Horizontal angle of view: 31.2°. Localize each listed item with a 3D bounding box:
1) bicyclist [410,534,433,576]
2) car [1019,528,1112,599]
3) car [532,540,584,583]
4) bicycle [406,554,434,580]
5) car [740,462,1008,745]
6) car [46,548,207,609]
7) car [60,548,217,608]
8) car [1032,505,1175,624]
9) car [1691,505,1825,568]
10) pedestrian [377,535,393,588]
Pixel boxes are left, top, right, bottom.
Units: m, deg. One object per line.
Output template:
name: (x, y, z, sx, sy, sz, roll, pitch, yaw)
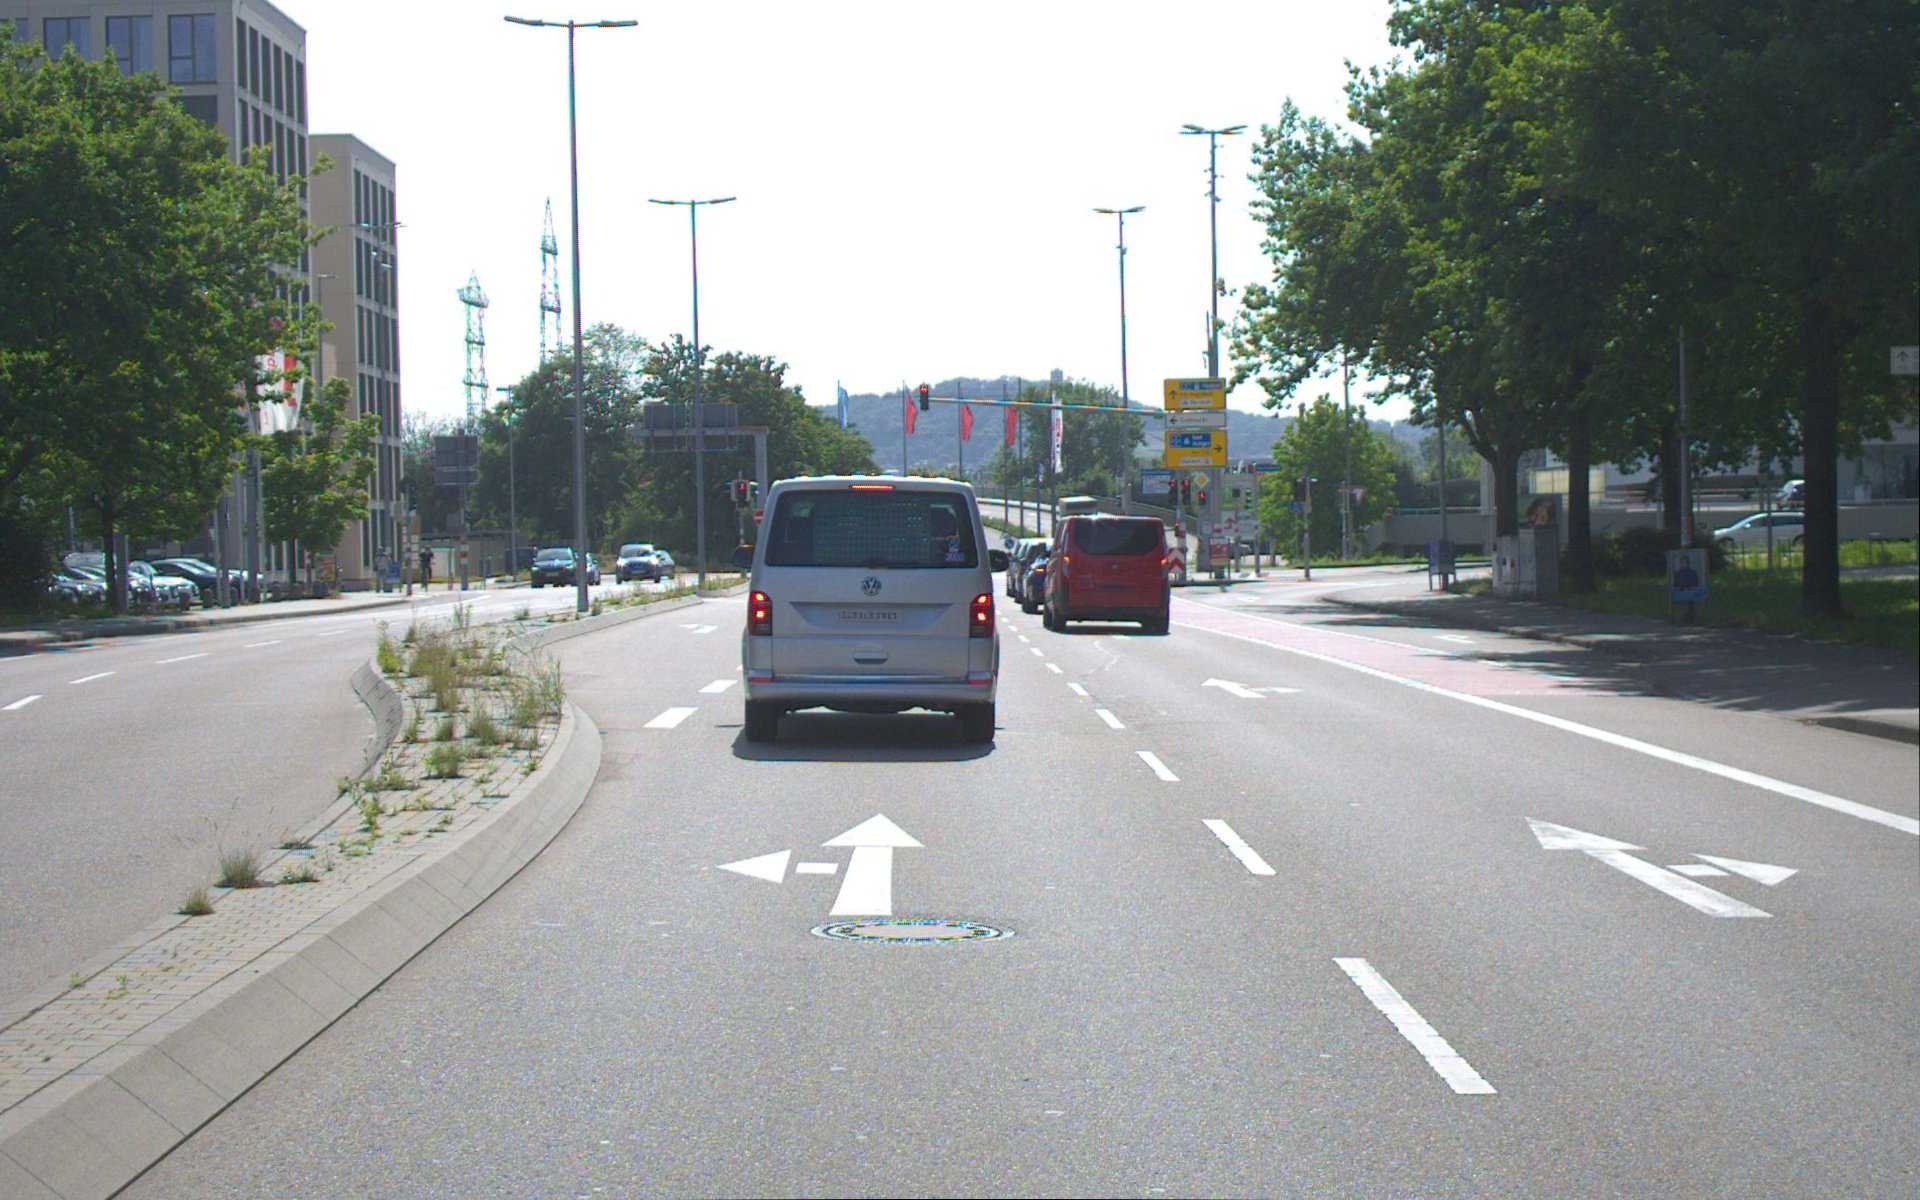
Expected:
bicyclist: (-19.977, -1.665, 127.530, 0.618, 1.521, 1.036, -2, 1, 1)
car: (2.188, -0.793, 72.405, 1.746, 1.453, 4.476, 0, 1, -1)
car: (-16.352, -1.570, 139.885, 1.738, 1.613, 4.210, -4, 1, -3)
bicycle: (-19.972, -1.226, 127.176, 0.680, 0.937, 1.973, -2, 1, 0)
car: (-0.627, -0.015, 26.268, 1.884, 1.983, 4.000, 0, 1, -1)
car: (-22.931, -0.596, 94.659, 3.874, 1.329, 1.848, -4, 2, 3)
car: (-23.195, -0.632, 97.106, 3.874, 1.360, 1.749, -4, 2, 3)
car: (2.428, -0.636, 59.534, 1.967, 1.961, 5.126, 0, 1, -3)
car: (28.563, -2.287, 123.135, 4.402, 1.987, 1.481, -3, 1, 5)
pedestrian: (-21.929, -1.457, 131.132, 0.558, 2.007, 0.576, 0, 1, -8)
